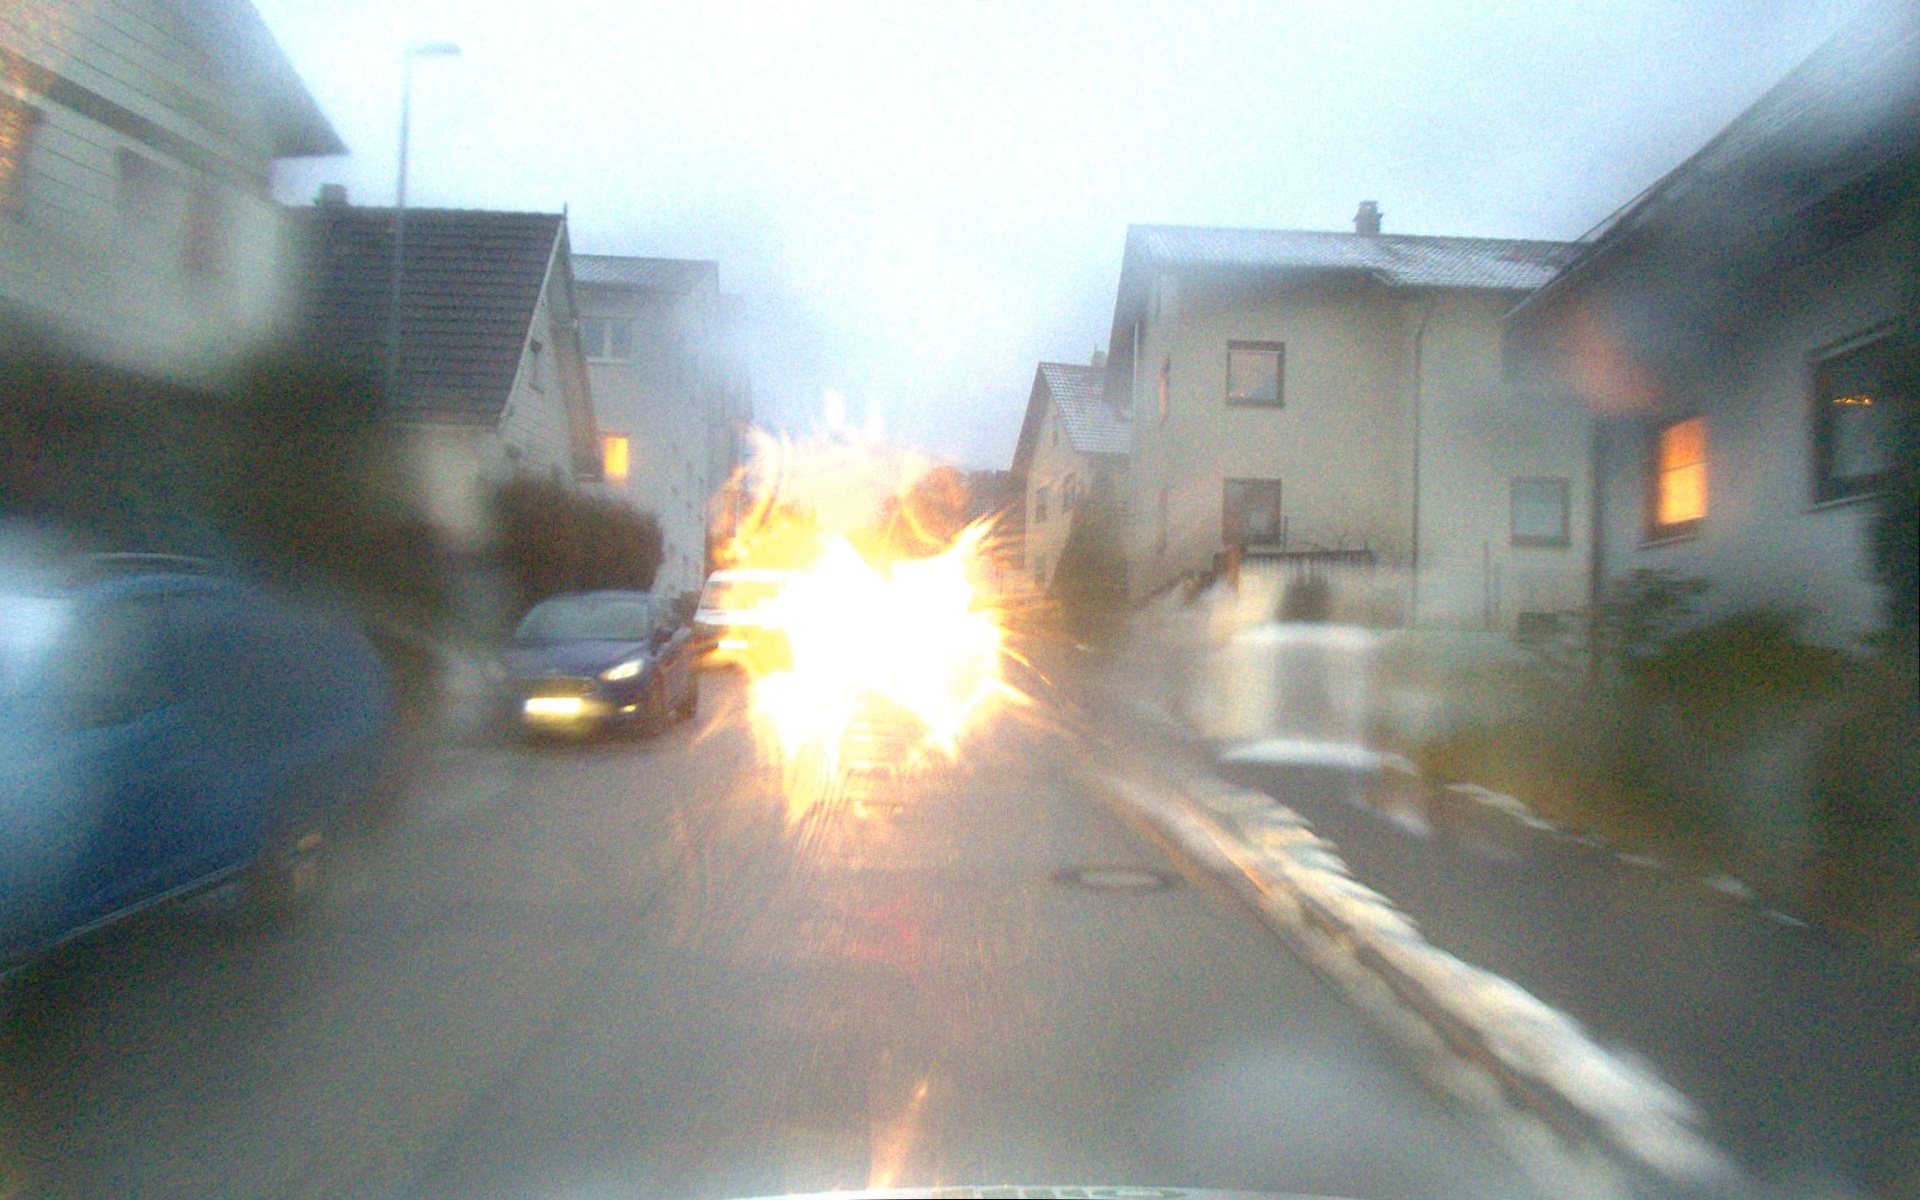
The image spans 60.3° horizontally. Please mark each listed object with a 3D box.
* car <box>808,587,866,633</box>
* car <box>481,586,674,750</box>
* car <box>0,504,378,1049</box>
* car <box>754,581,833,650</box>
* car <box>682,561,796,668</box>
[{"bbox_3d":[-4.725,0.407,63.932,1.953,1.679,3.999,0,-2,-1],"label":"car"},{"bbox_3d":[-3.968,0.626,17.718,1.761,1.530,4.299,0,0,-10],"label":"car"},{"bbox_3d":[-3.670,0.529,5.991,1.649,1.612,4.175,1,-1,0],"label":"car"},{"bbox_3d":[-4.548,0.402,45.623,1.954,1.832,3.998,0,0,-3],"label":"car"},{"bbox_3d":[-4.093,0.251,31.190,1.789,1.867,4.342,0,0,-3],"label":"car"}]
